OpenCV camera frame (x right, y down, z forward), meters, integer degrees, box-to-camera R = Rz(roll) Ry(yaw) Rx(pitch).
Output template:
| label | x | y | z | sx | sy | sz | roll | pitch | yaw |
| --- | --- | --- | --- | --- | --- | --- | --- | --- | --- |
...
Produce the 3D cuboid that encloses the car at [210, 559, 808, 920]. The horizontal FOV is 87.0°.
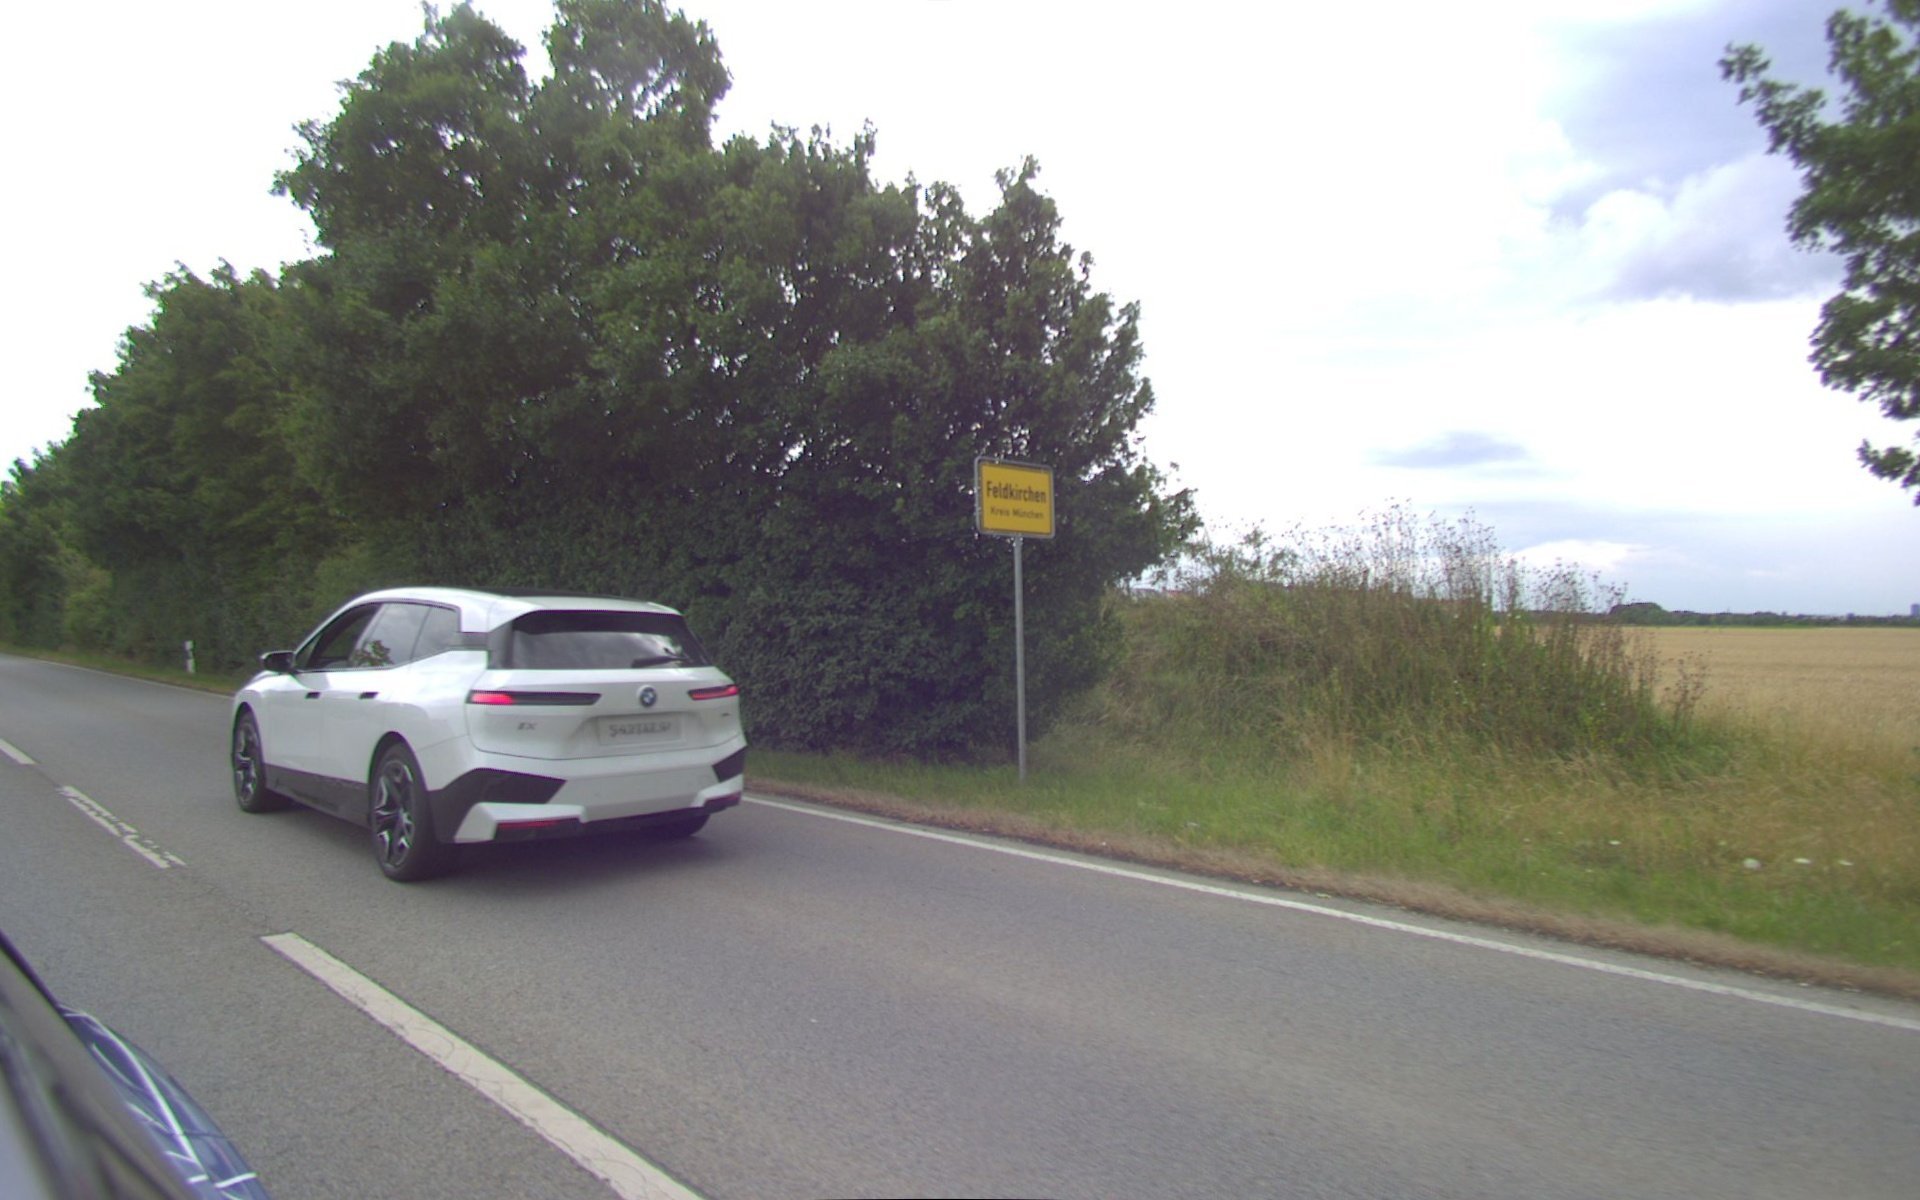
| label | x | y | z | sx | sy | sz | roll | pitch | yaw |
| --- | --- | --- | --- | --- | --- | --- | --- | --- | --- |
| car | -3.407 | 0.737 | 7.117 | 4.807 | 1.697 | 1.973 | -1 | -3 | 41 |
